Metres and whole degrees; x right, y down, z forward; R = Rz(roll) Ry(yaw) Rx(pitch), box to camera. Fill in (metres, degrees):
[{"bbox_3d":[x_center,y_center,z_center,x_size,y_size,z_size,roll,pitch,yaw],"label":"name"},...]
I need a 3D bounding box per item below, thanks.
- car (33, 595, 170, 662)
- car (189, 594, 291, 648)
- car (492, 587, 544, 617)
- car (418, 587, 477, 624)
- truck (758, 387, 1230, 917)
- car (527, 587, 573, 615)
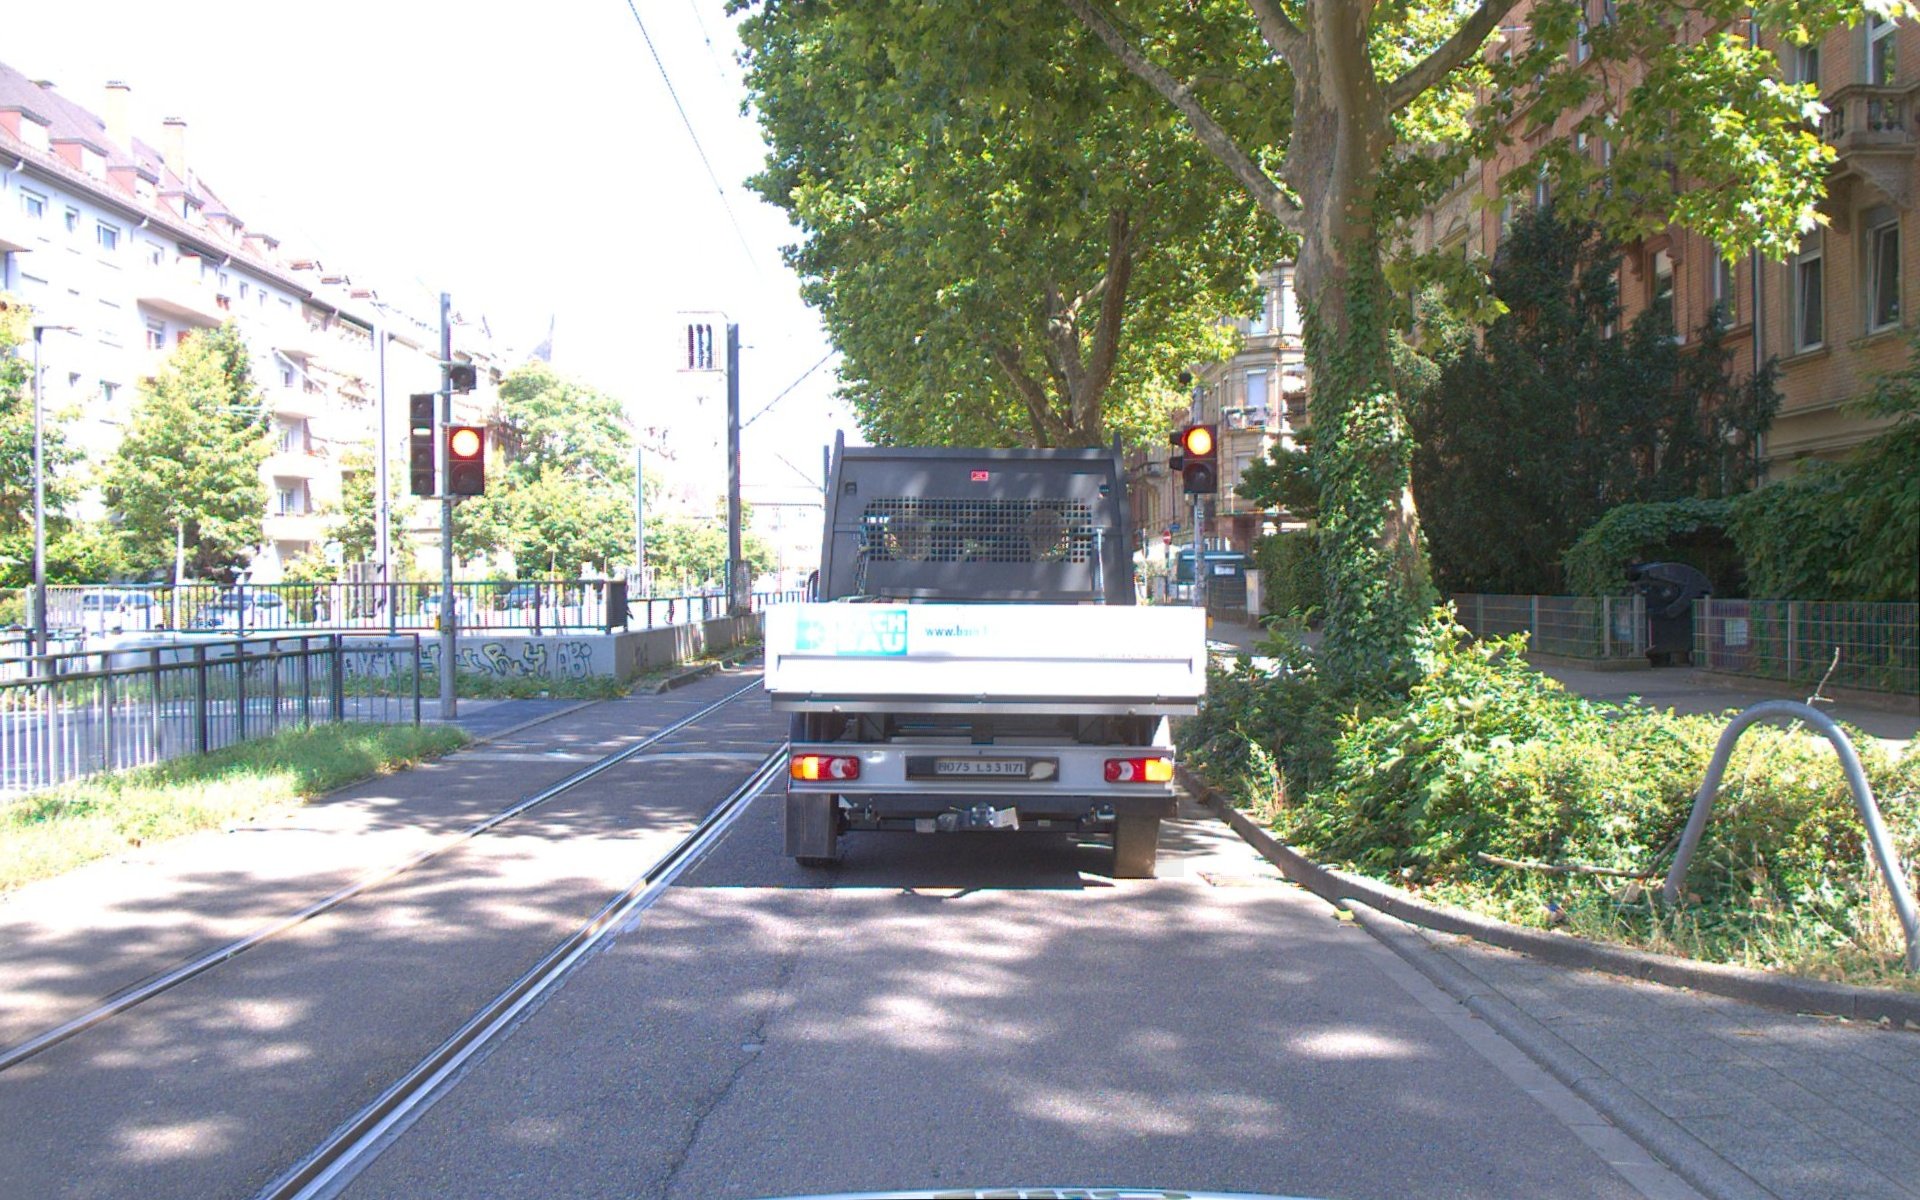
[{"bbox_3d":[-22.004,0.690,42.558,1.737,1.524,3.994,-2,1,-6],"label":"car"},{"bbox_3d":[-22.193,0.609,51.135,1.737,1.524,3.994,-2,1,-6],"label":"car"},{"bbox_3d":[-22.988,0.087,86.126,1.735,1.524,3.998,-1,1,-2],"label":"car"},{"bbox_3d":[-22.506,0.213,72.770,1.737,1.524,3.994,-1,1,-7],"label":"car"},{"bbox_3d":[0.158,0.215,9.708,2.094,2.359,4.401,1,1,0],"label":"truck"},{"bbox_3d":[-23.277,0.012,93.958,1.735,1.524,3.998,-1,1,-2],"label":"car"}]
